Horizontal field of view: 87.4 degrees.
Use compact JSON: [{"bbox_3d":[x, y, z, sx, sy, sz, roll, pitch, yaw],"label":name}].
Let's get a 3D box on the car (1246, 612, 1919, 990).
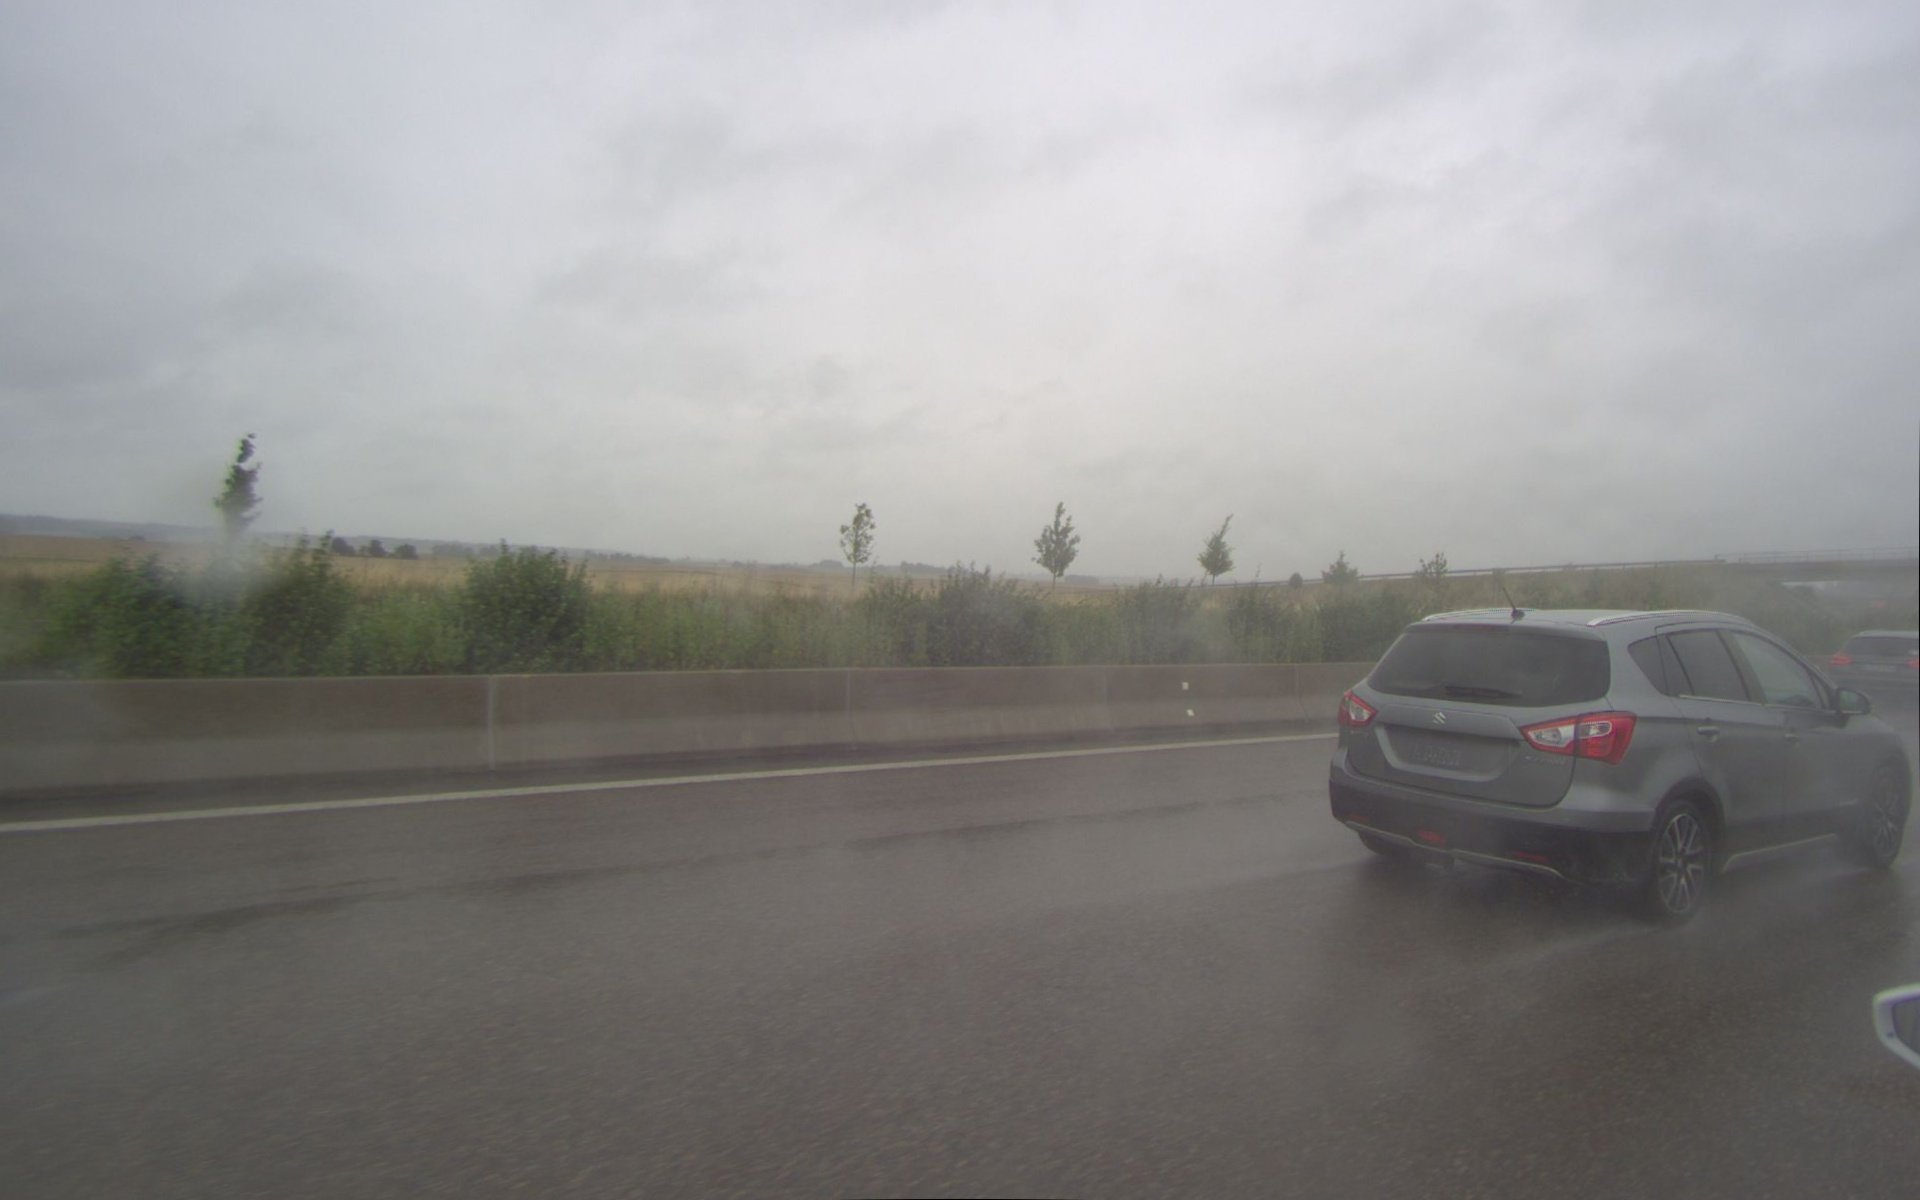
[{"bbox_3d":[4.117,0.895,6.188,4.703,1.533,1.836,1,0,-32],"label":"car"}]
